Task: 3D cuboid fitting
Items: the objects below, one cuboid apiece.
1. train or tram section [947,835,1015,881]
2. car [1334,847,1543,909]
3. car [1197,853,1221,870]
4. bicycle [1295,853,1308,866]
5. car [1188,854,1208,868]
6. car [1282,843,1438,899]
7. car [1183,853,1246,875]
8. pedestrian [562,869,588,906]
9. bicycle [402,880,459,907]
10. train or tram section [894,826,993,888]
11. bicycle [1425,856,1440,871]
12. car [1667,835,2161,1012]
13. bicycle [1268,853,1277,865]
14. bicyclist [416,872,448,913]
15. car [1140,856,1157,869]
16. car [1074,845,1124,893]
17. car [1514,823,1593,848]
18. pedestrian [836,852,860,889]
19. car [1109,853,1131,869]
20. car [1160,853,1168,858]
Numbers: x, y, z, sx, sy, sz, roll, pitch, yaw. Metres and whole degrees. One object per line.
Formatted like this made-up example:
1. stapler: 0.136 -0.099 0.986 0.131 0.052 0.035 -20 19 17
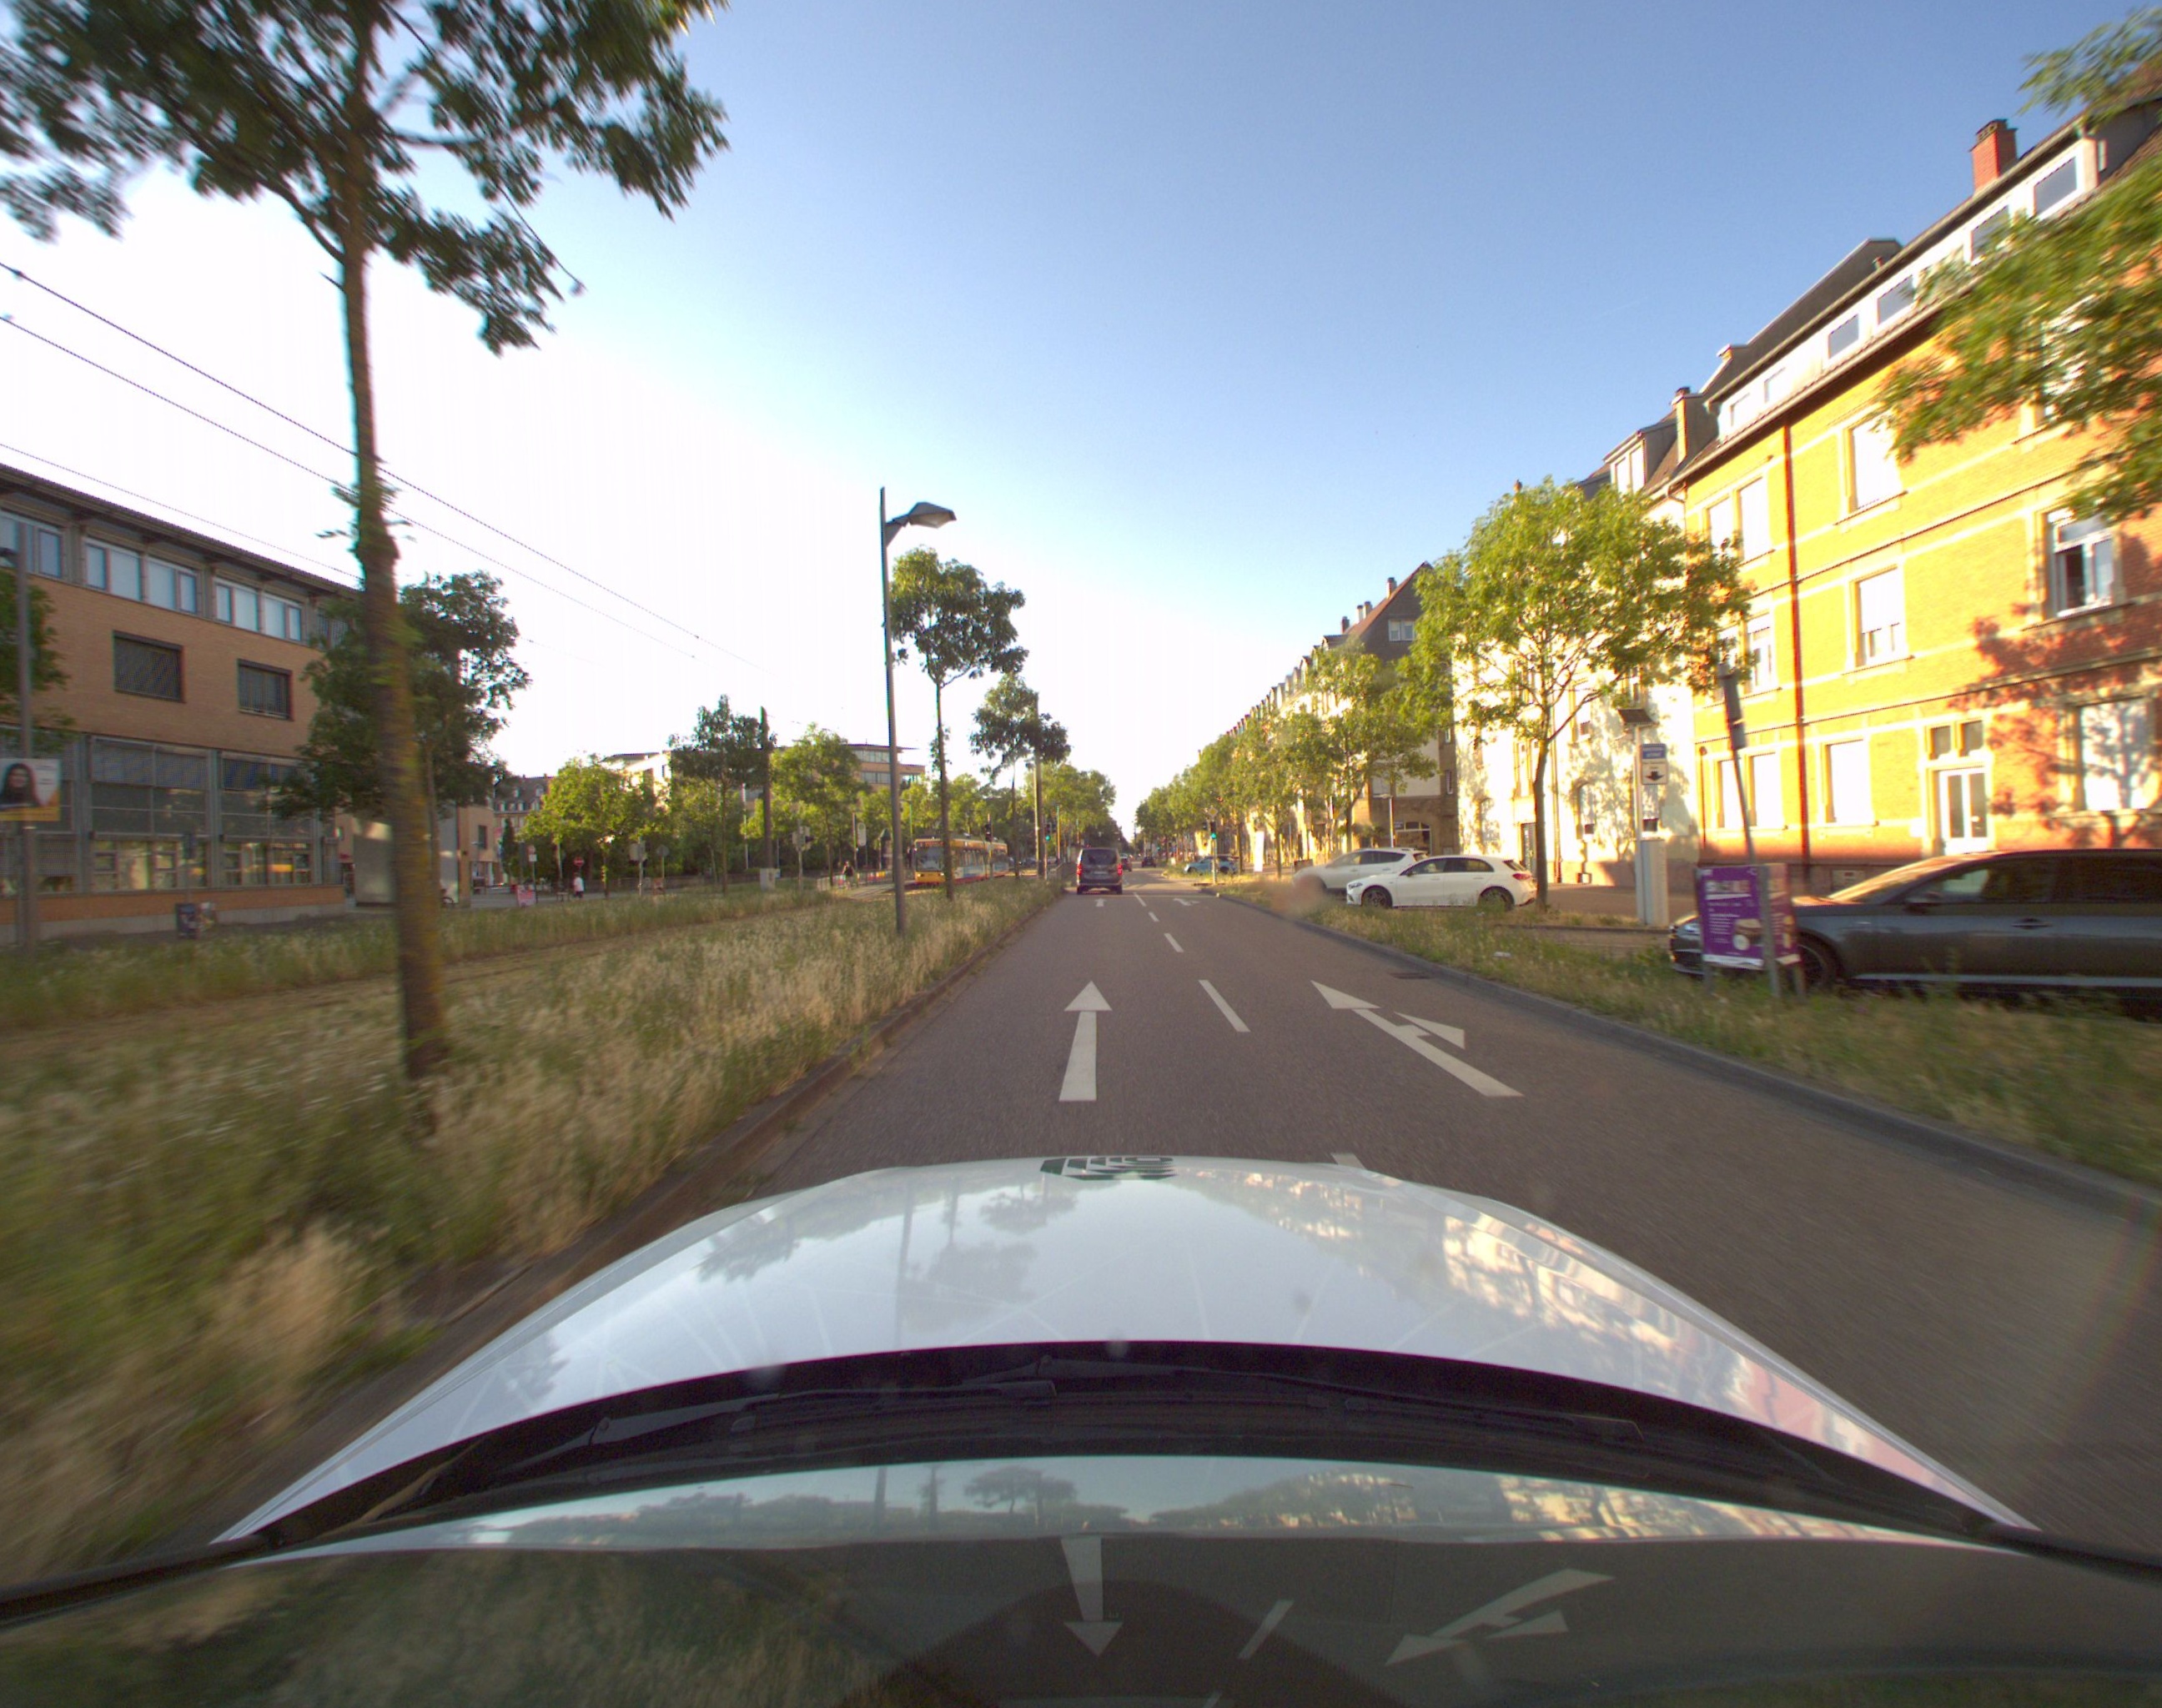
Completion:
1. train or tram section: -8.182 0.339 68.888 3.418 3.339 13.864 -2 0 2
2. car: 8.910 0.608 20.418 4.496 1.400 2.044 -2 -1 32
3. car: 11.990 0.697 76.651 1.719 1.512 4.274 1 0 2
4. bicycle: 19.140 0.481 70.754 0.570 1.073 1.897 -3 0 2
5. car: 12.339 0.687 86.115 1.697 1.448 4.291 1 0 3
6. car: 8.999 0.542 26.442 4.375 1.691 1.928 -1 0 37
7. car: 9.974 0.749 61.061 4.232 1.522 1.859 -1 0 34
8. pedestrian: -23.580 1.558 37.979 0.687 1.697 0.827 -2 0 -6
9. bicycle: -28.010 1.706 35.130 0.707 1.052 2.095 -2 0 2
10. train or tram section: -8.742 0.205 54.405 3.418 3.430 15.034 -2 0 2
11. bicycle: 22.799 0.605 52.823 0.623 0.947 1.893 -1 1 17
12. car: 8.214 0.555 7.479 4.523 1.348 1.908 -2 -1 34
13. bicycle: 19.496 0.534 83.047 0.481 1.165 1.747 -7 0 2
14. bicyclist: -28.002 1.651 35.146 0.692 1.674 0.826 -2 -1 2
15. car: 8.334 1.066 100.967 1.986 1.510 4.002 -1 0 2
16. car: 0.818 0.589 34.291 1.985 1.900 4.302 0 0 2
17. car: 30.610 -1.208 52.788 3.973 1.466 2.001 -2 2 1
18. pedestrian: -12.908 0.926 45.142 0.931 2.014 0.957 -2 -1 2
19. car: 3.801 0.711 79.986 1.987 1.510 3.999 -1 0 -1
20. car: 26.399 0.409 257.780 1.987 1.656 4.298 -2 0 0
